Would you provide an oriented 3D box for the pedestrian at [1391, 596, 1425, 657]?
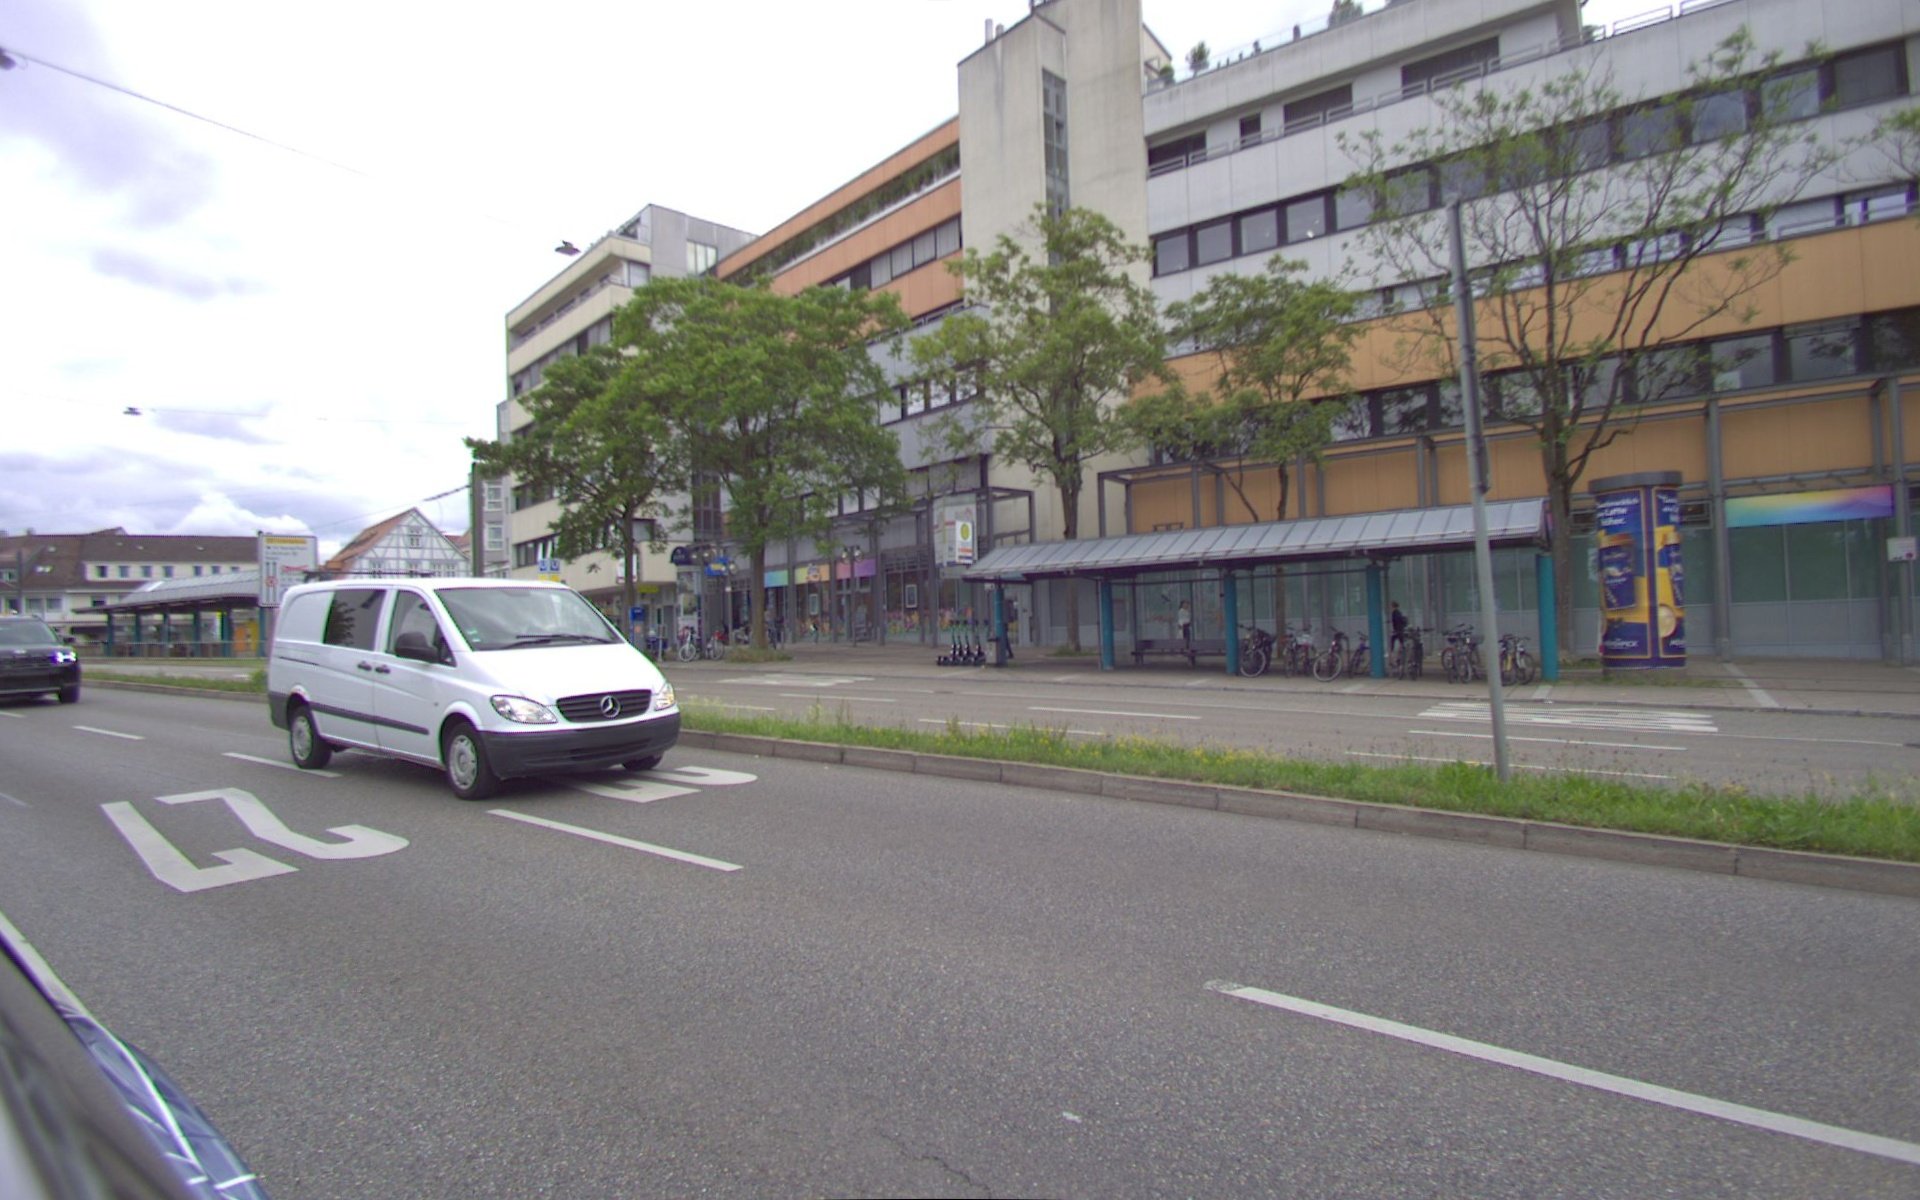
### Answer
[{"bbox_3d":[12.180,0.723,27.510,0.675,1.656,0.526,-2,-2,41],"label":"pedestrian"}]

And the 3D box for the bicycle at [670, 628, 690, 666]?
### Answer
[{"bbox_3d":[-9.502,1.582,34.334,0.616,1.263,1.689,0,-2,-17],"label":"bicycle"}]

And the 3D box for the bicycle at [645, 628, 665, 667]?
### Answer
[{"bbox_3d":[-10.141,1.565,33.584,0.616,1.263,1.689,0,-2,-17],"label":"bicycle"}]

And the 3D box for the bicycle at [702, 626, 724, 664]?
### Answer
[{"bbox_3d":[-8.476,1.533,34.678,0.616,1.263,1.689,0,-2,-17],"label":"bicycle"}]

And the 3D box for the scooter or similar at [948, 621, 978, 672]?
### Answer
[{"bbox_3d":[0.088,1.297,28.637,0.221,1.395,1.192,-2,-2,33],"label":"scooter or similar"}]

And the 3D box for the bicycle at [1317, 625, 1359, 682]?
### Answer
[{"bbox_3d":[8.401,1.160,22.447,0.707,1.162,2.054,-1,0,24],"label":"bicycle"}]

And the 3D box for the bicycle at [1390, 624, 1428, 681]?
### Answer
[{"bbox_3d":[9.754,1.109,21.979,0.707,1.162,2.054,-1,-2,24],"label":"bicycle"}]

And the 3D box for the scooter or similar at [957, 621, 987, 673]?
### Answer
[{"bbox_3d":[0.341,1.303,28.533,0.259,1.434,1.192,-2,-2,33],"label":"scooter or similar"}]

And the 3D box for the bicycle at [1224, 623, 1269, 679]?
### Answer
[{"bbox_3d":[6.783,1.181,23.876,0.707,1.162,2.055,-2,1,24],"label":"bicycle"}]

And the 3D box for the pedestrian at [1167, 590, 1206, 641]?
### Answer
[{"bbox_3d":[7.365,0.525,32.932,0.995,1.630,0.726,-2,-2,36],"label":"pedestrian"}]

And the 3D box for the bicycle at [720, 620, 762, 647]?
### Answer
[{"bbox_3d":[-10.930,1.671,50.477,1.941,1.329,0.707,0,-2,-34],"label":"bicycle"}]

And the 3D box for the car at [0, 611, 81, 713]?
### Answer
[{"bbox_3d":[-18.693,1.175,19.778,4.680,1.764,1.901,-2,0,45],"label":"car"}]

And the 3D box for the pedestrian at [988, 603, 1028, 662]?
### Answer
[{"bbox_3d":[1.478,0.991,31.127,0.995,1.795,0.726,-2,-2,36],"label":"pedestrian"}]

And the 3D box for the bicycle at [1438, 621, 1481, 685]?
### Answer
[{"bbox_3d":[10.563,1.103,21.442,0.707,1.162,2.055,-1,2,24],"label":"bicycle"}]

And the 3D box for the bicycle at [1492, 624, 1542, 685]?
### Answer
[{"bbox_3d":[11.529,1.100,20.986,0.707,1.162,2.054,-1,-1,24],"label":"bicycle"}]

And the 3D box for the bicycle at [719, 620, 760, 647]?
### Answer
[{"bbox_3d":[-11.215,1.695,51.507,1.941,1.329,0.707,0,-2,-34],"label":"bicycle"}]

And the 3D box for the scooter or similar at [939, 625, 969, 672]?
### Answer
[{"bbox_3d":[-0.162,1.364,28.750,0.267,1.305,1.119,-2,-2,32],"label":"scooter or similar"}]

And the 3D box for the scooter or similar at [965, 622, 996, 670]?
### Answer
[{"bbox_3d":[0.587,1.275,28.366,0.259,1.330,1.192,-2,-2,33],"label":"scooter or similar"}]

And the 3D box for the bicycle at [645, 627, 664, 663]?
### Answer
[{"bbox_3d":[-10.821,1.581,35.832,0.616,1.263,1.688,0,-2,-16],"label":"bicycle"}]

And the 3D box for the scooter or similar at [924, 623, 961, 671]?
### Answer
[{"bbox_3d":[-0.491,1.332,28.906,0.338,1.279,1.311,-2,0,33],"label":"scooter or similar"}]

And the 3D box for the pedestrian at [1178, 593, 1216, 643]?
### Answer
[{"bbox_3d":[7.849,0.606,33.552,0.995,1.630,0.726,-2,-2,36],"label":"pedestrian"}]

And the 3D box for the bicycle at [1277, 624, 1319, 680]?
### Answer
[{"bbox_3d":[7.830,1.179,23.391,0.707,1.162,2.055,-1,1,24],"label":"bicycle"}]

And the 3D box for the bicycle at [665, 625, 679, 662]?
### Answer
[{"bbox_3d":[-10.080,1.510,35.484,0.425,1.263,1.474,0,-2,-14],"label":"bicycle"}]

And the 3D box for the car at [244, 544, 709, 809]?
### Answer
[{"bbox_3d":[-4.914,0.627,9.951,5.064,2.029,1.858,-2,0,35],"label":"car"}]
